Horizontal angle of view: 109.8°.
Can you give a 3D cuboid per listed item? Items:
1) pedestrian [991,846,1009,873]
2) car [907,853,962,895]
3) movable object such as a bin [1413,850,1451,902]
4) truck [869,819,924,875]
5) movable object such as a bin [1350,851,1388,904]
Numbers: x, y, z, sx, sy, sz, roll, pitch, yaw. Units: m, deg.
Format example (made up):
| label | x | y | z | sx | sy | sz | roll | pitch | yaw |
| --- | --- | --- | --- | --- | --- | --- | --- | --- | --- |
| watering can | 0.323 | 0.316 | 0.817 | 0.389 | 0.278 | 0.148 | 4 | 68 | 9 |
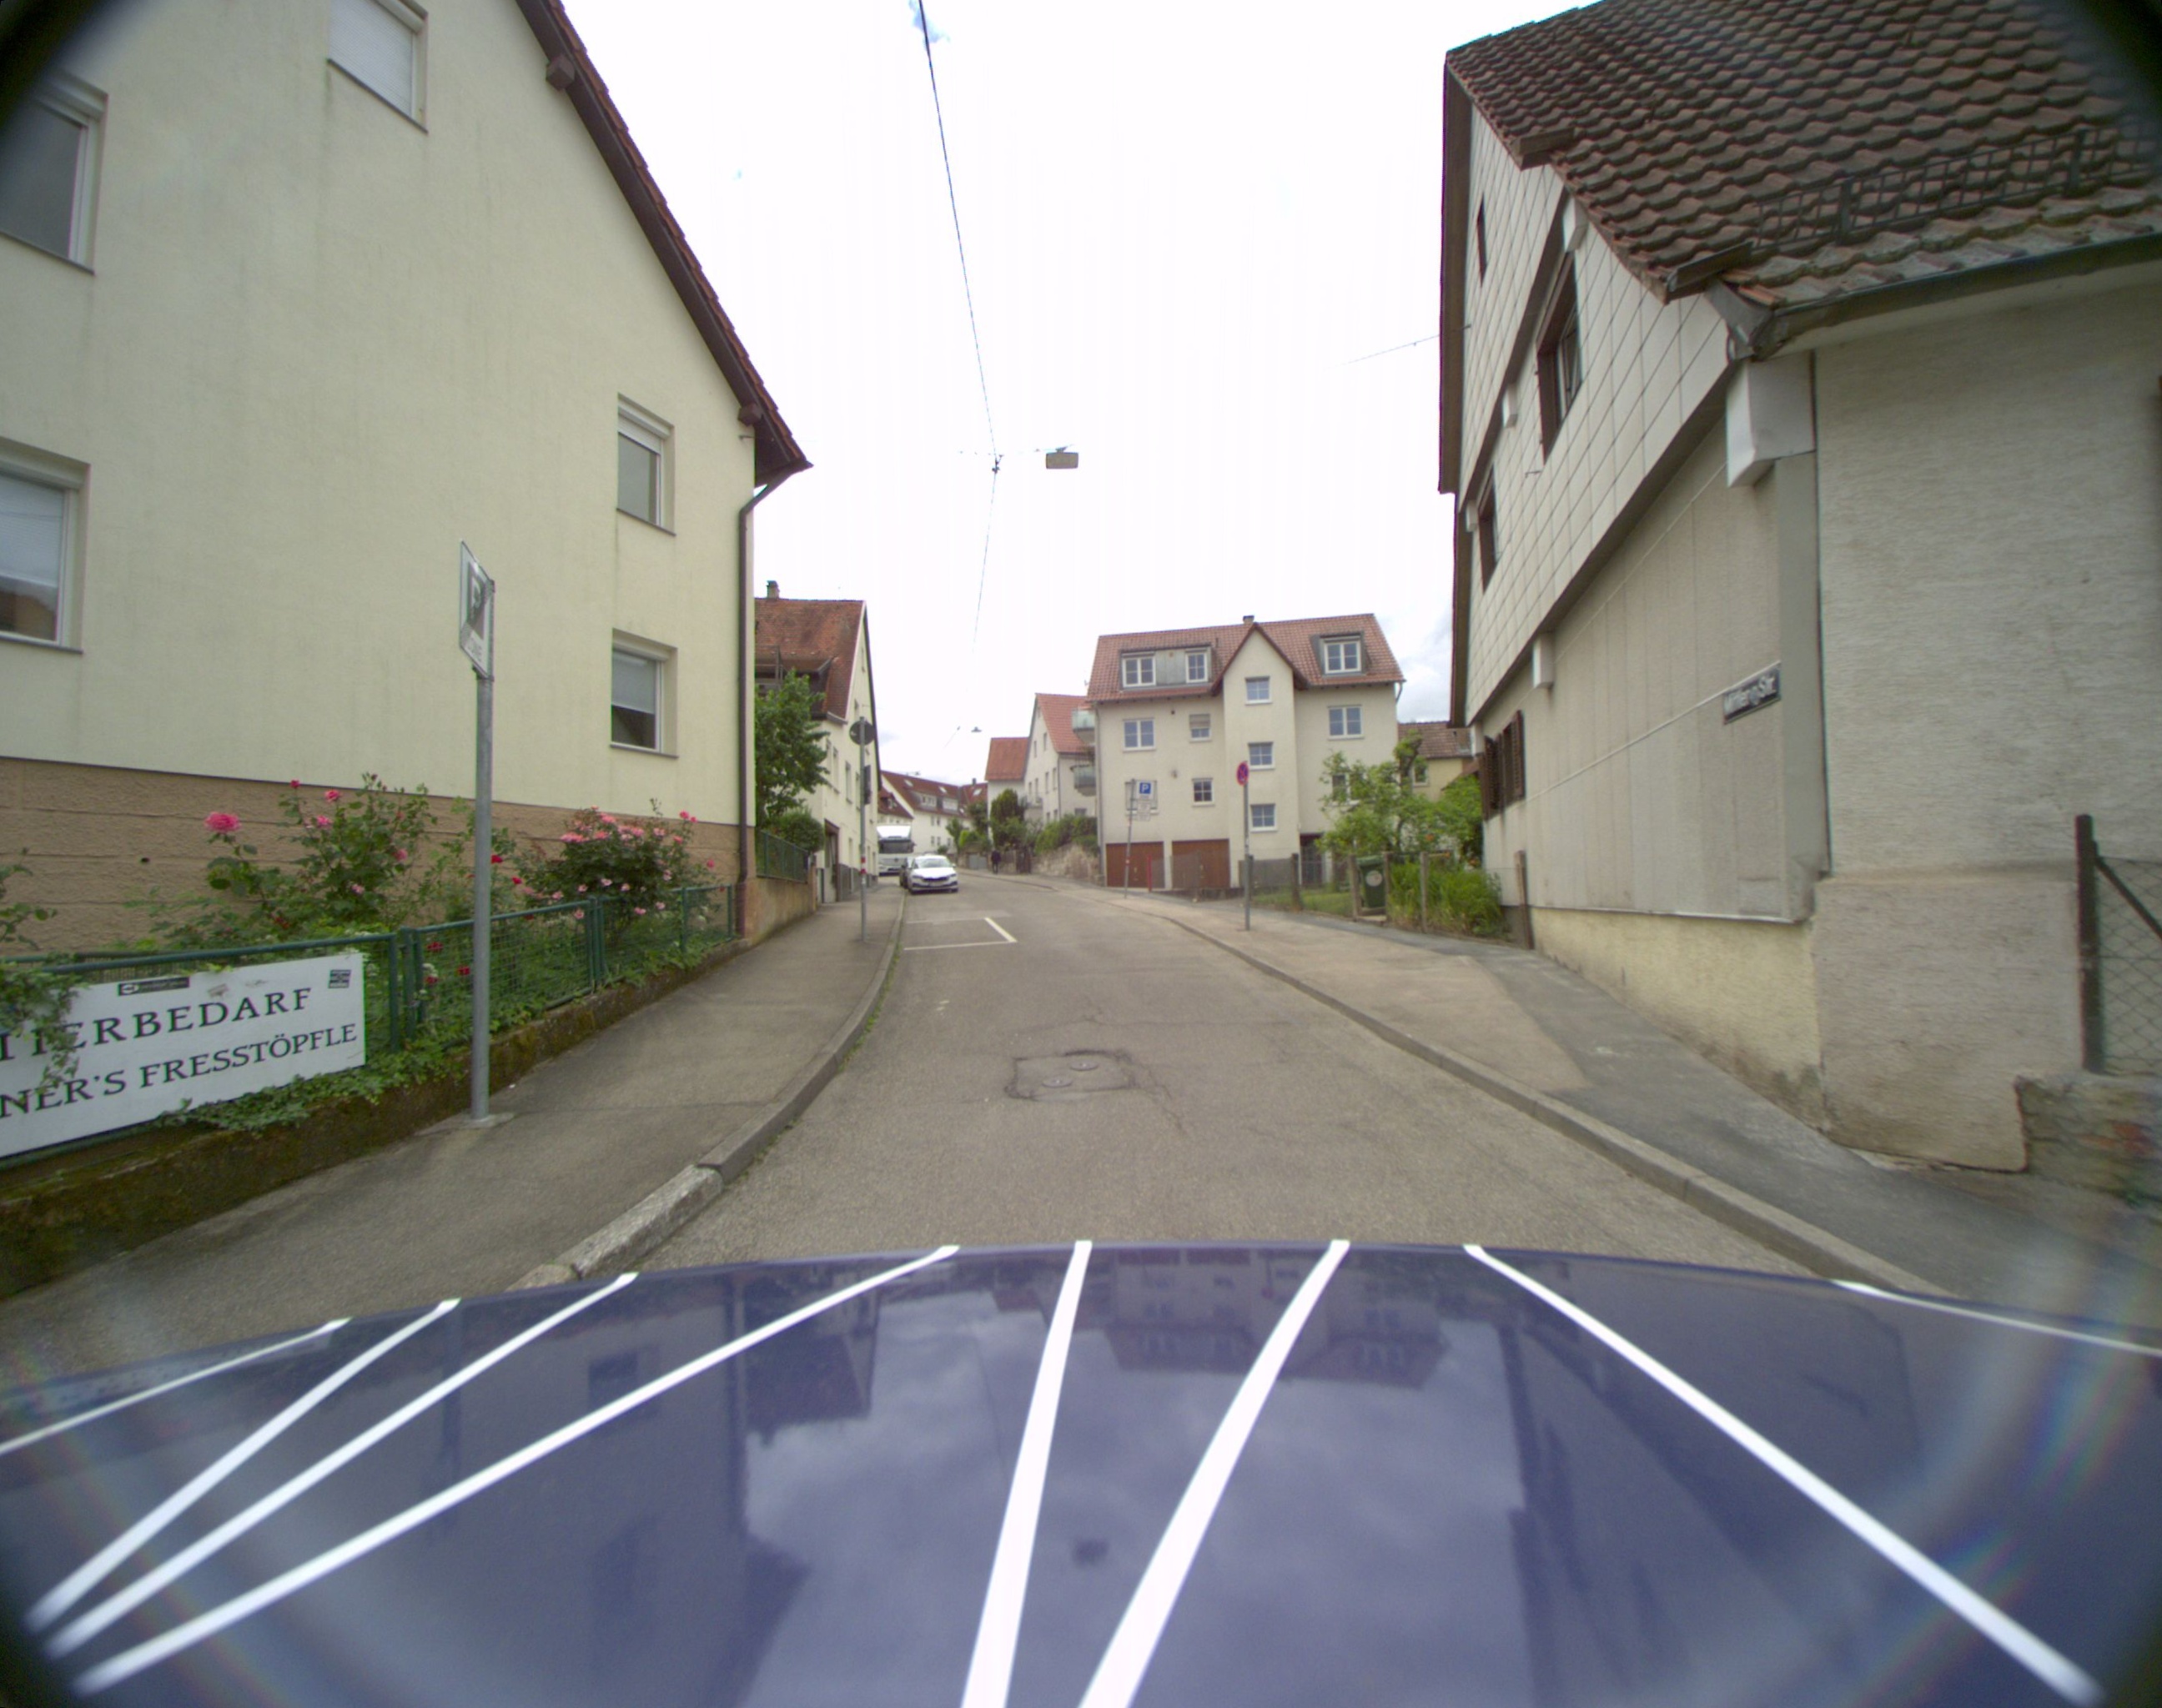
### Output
| label | x | y | z | sx | sy | sz | roll | pitch | yaw |
| --- | --- | --- | --- | --- | --- | --- | --- | --- | --- |
| pedestrian | -5.167 | 0.324 | 48.451 | 0.843 | 1.668 | 0.975 | -4 | 2 | -19 |
| car | -5.928 | 0.730 | 30.378 | 1.801 | 1.437 | 4.291 | -3 | 2 | -15 |
| movable object such as a bin | 6.230 | 0.386 | 13.494 | 0.495 | 0.873 | 0.453 | -5 | 2 | 17 |
| truck | -12.988 | -0.448 | 53.009 | 2.687 | 3.576 | 8.091 | -2 | 1 | -20 |
| movable object such as a bin | 5.145 | 0.420 | 13.594 | 0.527 | 0.879 | 0.490 | -5 | 2 | 17 |
